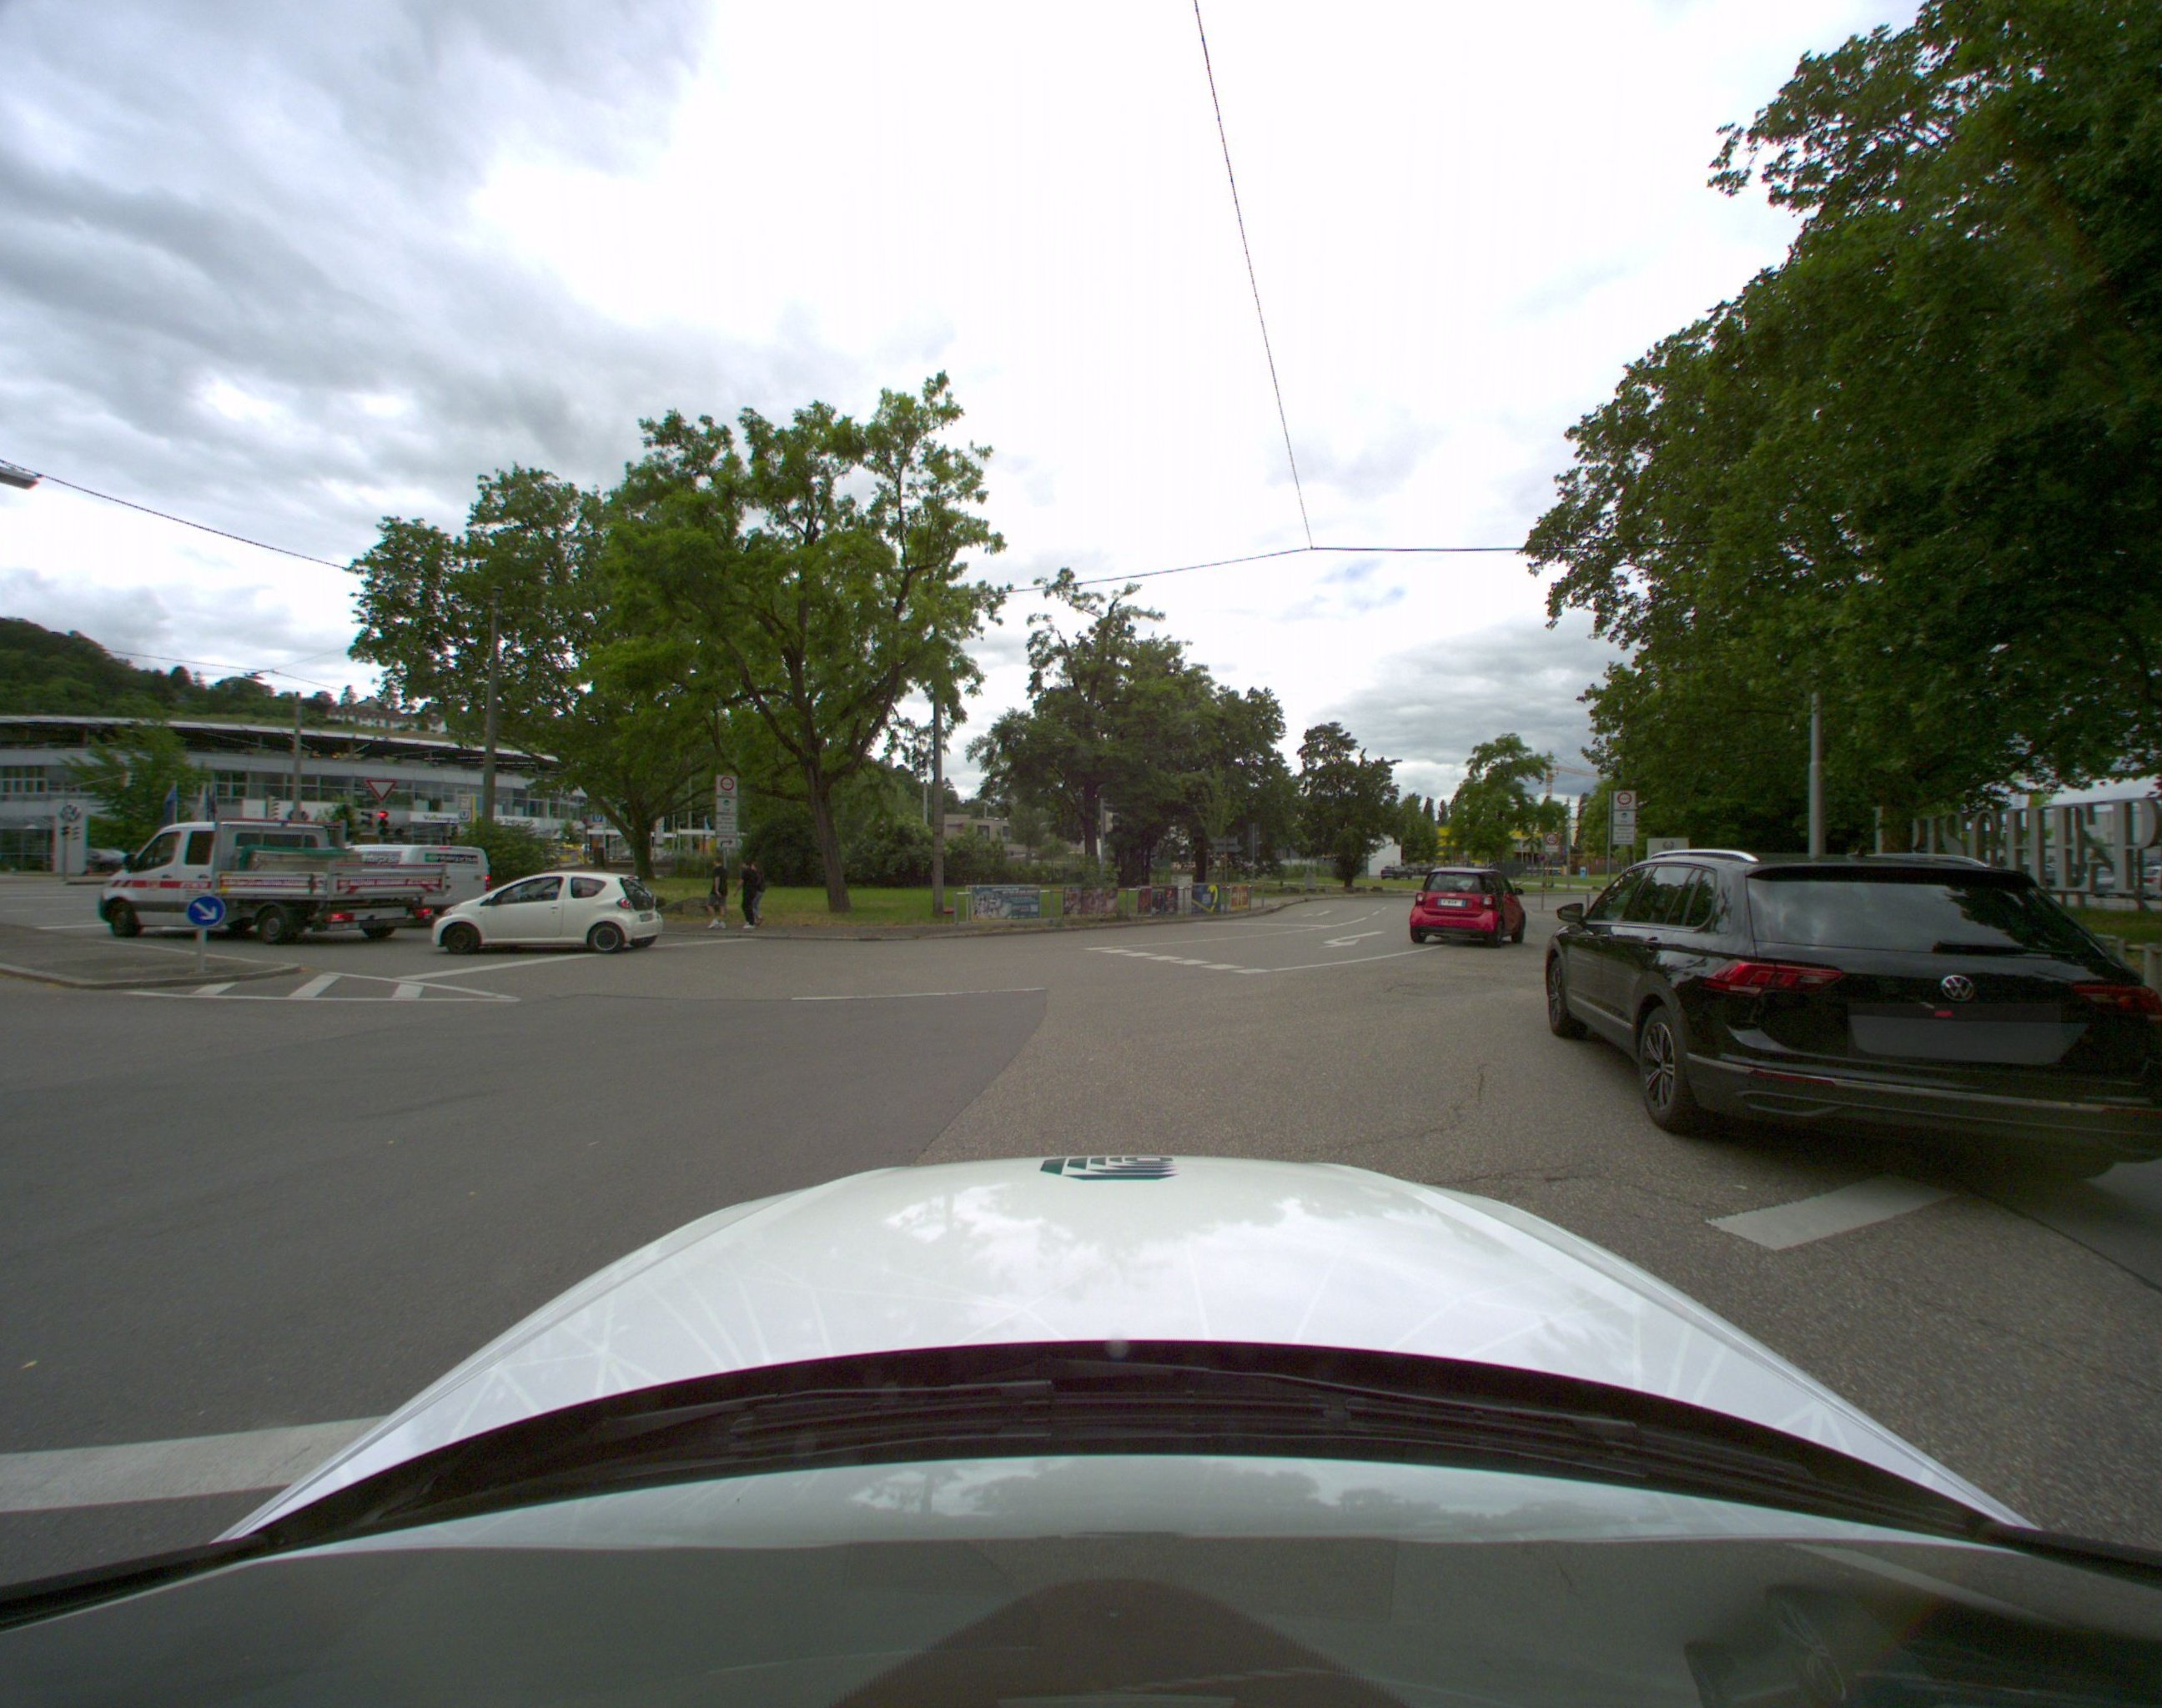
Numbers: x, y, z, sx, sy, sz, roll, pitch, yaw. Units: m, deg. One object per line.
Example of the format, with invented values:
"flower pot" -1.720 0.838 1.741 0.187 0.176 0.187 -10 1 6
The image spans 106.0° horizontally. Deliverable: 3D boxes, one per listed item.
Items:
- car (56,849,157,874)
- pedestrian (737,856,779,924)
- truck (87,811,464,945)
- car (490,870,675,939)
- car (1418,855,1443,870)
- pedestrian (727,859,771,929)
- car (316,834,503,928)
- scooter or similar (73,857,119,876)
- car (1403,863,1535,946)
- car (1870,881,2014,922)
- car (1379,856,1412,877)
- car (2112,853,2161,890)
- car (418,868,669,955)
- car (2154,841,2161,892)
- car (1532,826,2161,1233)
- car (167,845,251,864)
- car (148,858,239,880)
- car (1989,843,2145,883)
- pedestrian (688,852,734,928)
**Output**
"car" -61.083 0.483 51.111 3.865 1.501 1.771 0 0 -8
"pedestrian" -8.440 0.928 21.313 0.781 1.740 0.697 0 0 7
"truck" -15.972 0.422 16.278 5.969 2.397 2.438 0 0 12
"car" -11.323 1.093 18.586 3.395 1.457 1.650 0 -1 14
"car" 47.995 1.183 111.761 1.945 2.013 4.245 1 0 39
"pedestrian" -8.366 0.990 20.560 0.781 1.714 0.697 0 0 7
"car" -16.738 0.608 20.275 4.700 2.107 2.008 0 0 29
"scooter or similar" -59.138 0.743 48.896 0.461 1.178 1.684 0 0 33
"car" 7.990 0.947 16.676 1.695 1.464 3.039 0 0 41
"car" 34.280 1.869 32.530 3.687 1.505 1.489 0 0 20
"car" 32.587 1.287 84.344 1.945 2.013 4.245 1 0 39
"car" 46.993 0.745 33.951 4.584 1.558 2.011 0 0 24
"car" -9.614 0.999 14.806 3.415 1.432 1.641 0 0 -6
"car" 45.157 0.501 31.163 4.584 2.014 2.011 0 0 24
"car" 4.504 0.706 5.486 1.829 1.635 4.205 1 0 19
"car" -69.881 0.055 65.364 4.214 1.492 1.785 0 0 -19
"car" -60.736 1.024 55.767 4.003 1.501 1.772 0 0 -6
"car" 51.098 0.455 42.360 4.765 2.014 2.011 0 0 24
"pedestrian" -9.200 0.886 20.275 0.781 1.857 0.697 0 0 7
